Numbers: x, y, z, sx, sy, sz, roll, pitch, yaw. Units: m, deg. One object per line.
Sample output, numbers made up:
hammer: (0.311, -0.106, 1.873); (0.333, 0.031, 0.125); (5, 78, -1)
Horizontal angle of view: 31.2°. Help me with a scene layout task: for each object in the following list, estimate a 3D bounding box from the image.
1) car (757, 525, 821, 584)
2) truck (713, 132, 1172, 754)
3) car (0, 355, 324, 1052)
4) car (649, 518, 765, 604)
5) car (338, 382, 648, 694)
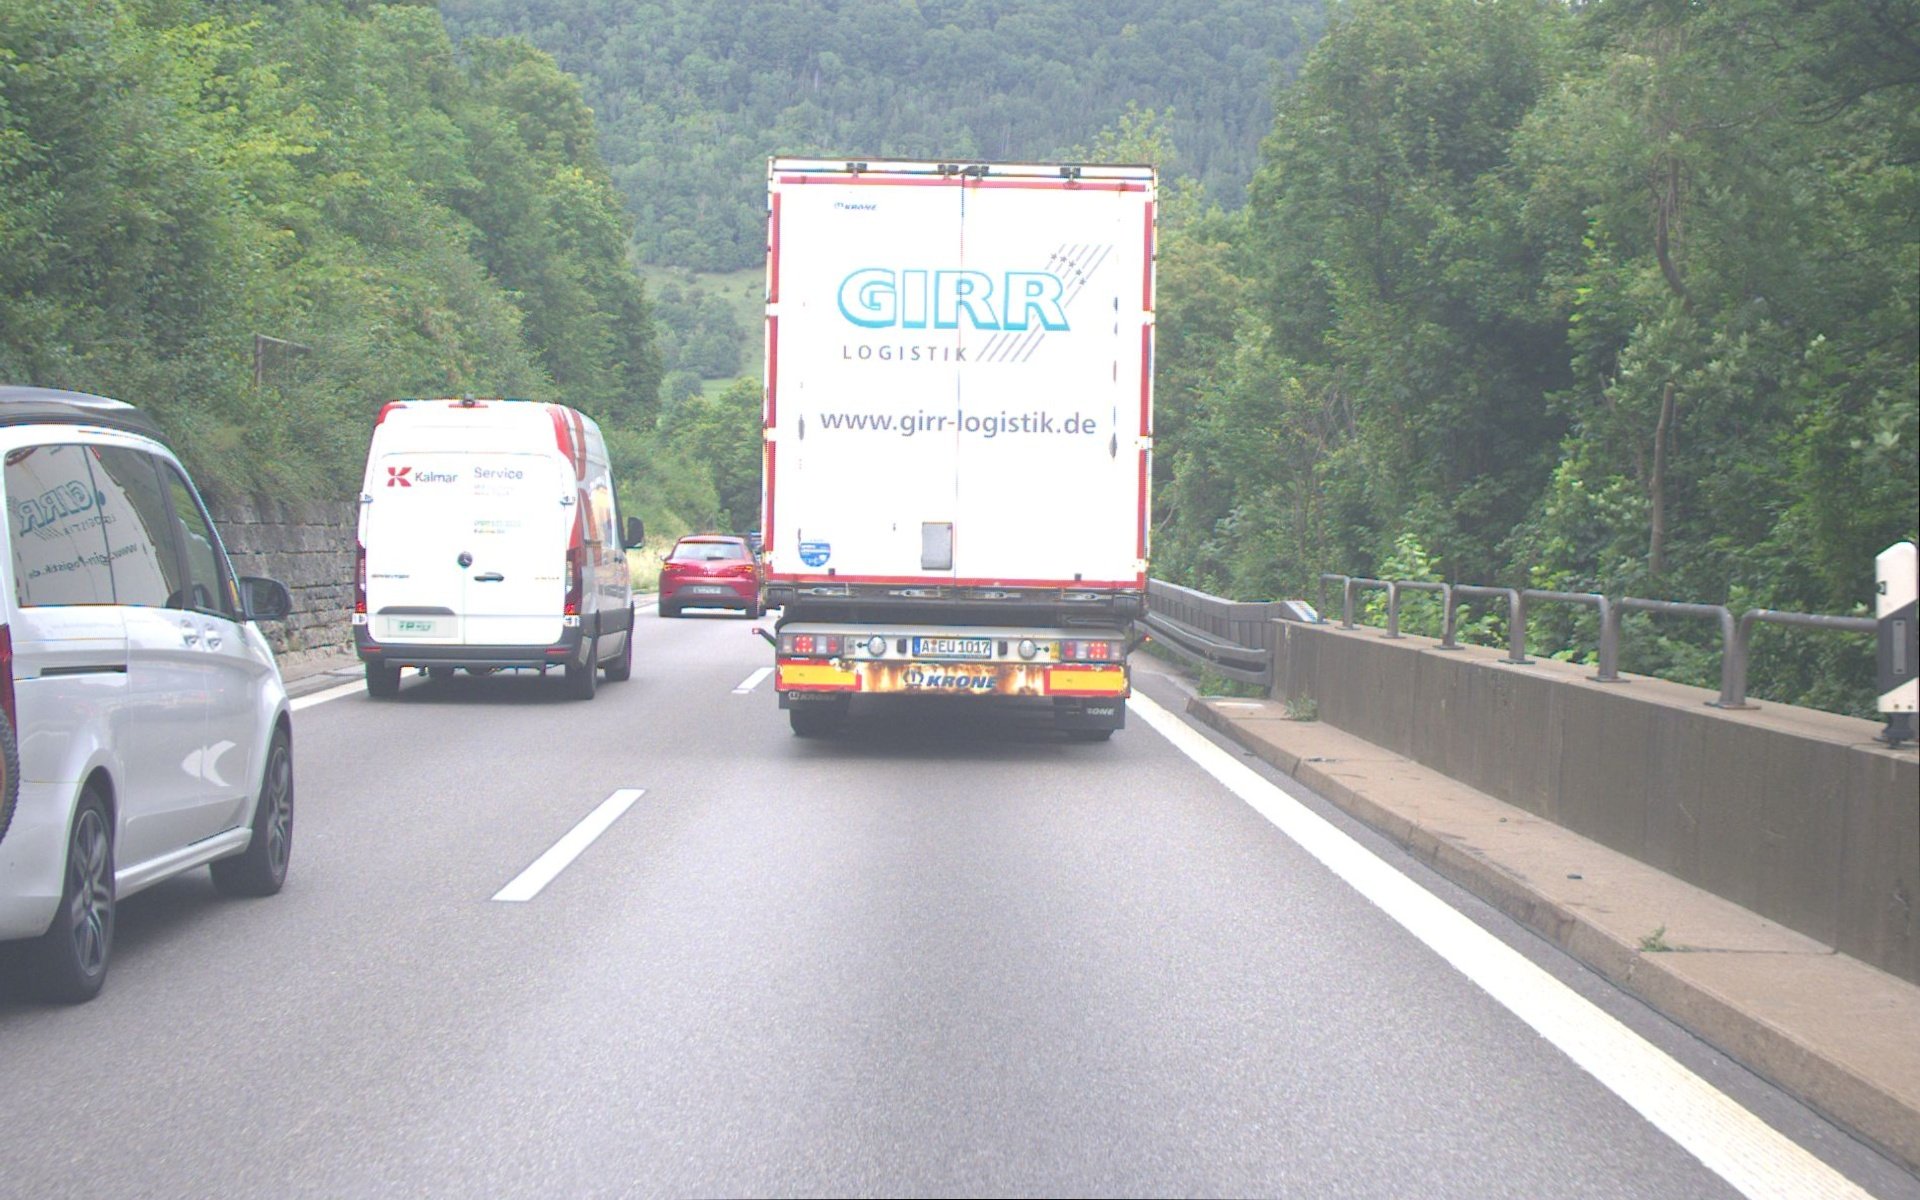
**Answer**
car: (-4.865, -1.301, 97.971); (1.669, 1.633, 4.068); (0, 1, -1)
truck: (-0.103, -1.080, 26.556); (2.909, 3.947, 9.279); (0, 1, 0)
car: (-3.708, 0.226, 11.796); (1.993, 1.946, 6.148); (1, 1, -1)
car: (-4.434, -0.699, 60.759); (1.766, 1.455, 4.411); (0, 1, 0)
car: (-4.164, -0.553, 31.686); (2.026, 2.576, 6.275); (0, 1, 0)
